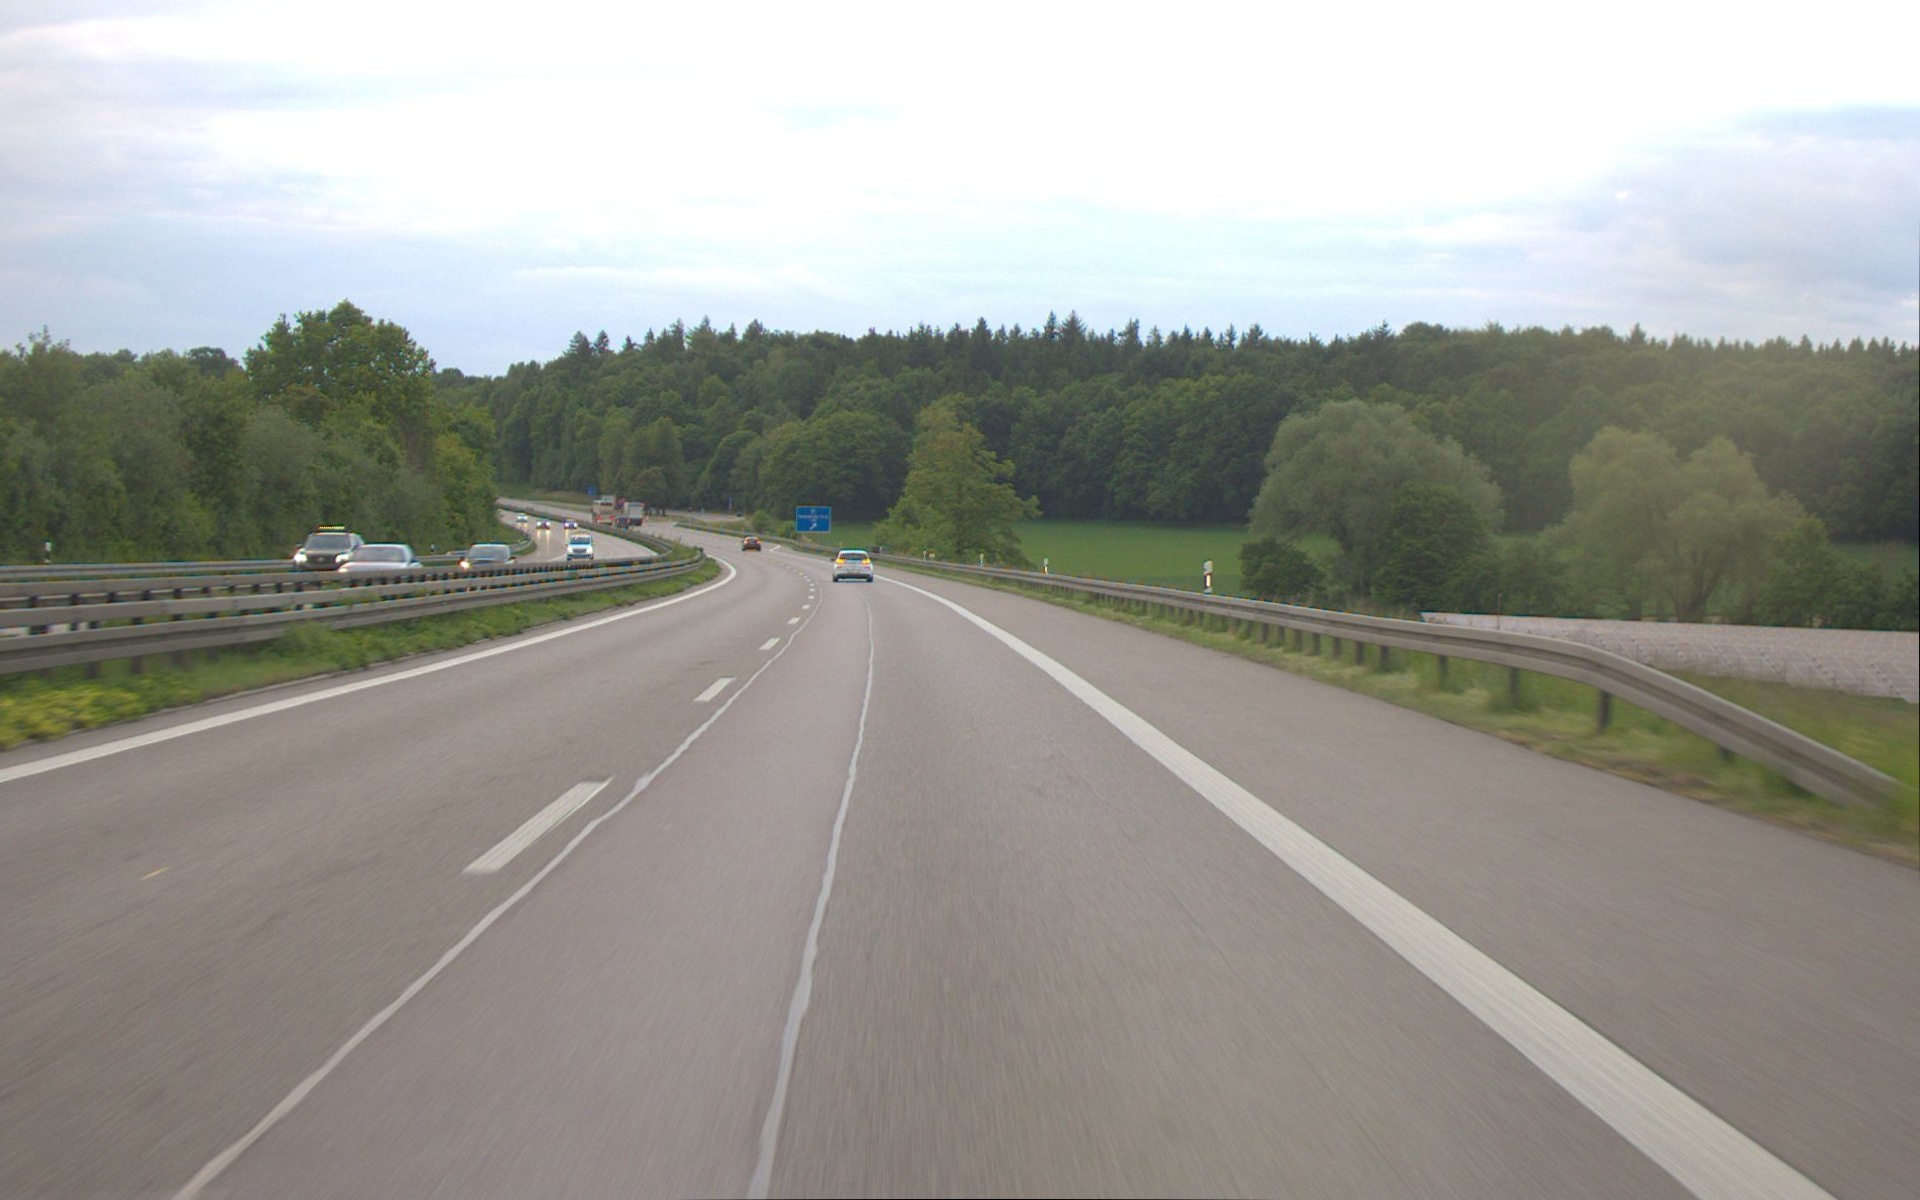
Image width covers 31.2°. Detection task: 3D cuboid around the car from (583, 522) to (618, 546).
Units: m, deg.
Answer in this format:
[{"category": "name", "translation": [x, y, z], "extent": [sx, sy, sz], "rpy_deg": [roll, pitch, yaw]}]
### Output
[{"category": "car", "translation": [-26.788, -4.919, 256.252], "extent": [1.993, 1.621, 5.736], "rpy_deg": [3, 1, -1]}]

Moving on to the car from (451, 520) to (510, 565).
[{"category": "car", "translation": [-16.700, -2.021, 119.809], "extent": [1.660, 1.435, 4.131], "rpy_deg": [3, 1, -4]}]

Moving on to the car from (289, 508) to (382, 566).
[{"category": "car", "translation": [-19.867, -2.009, 109.633], "extent": [1.886, 1.688, 5.769], "rpy_deg": [3, 1, -1]}]

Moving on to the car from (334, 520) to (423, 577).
[{"category": "car", "translation": [-15.410, -1.385, 91.288], "extent": [1.566, 1.360, 4.620], "rpy_deg": [3, 1, -1]}]

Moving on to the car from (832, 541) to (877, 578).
[{"category": "car", "translation": [-4.868, -1.857, 157.698], "extent": [1.951, 1.526, 4.081], "rpy_deg": [3, 1, -2]}]
